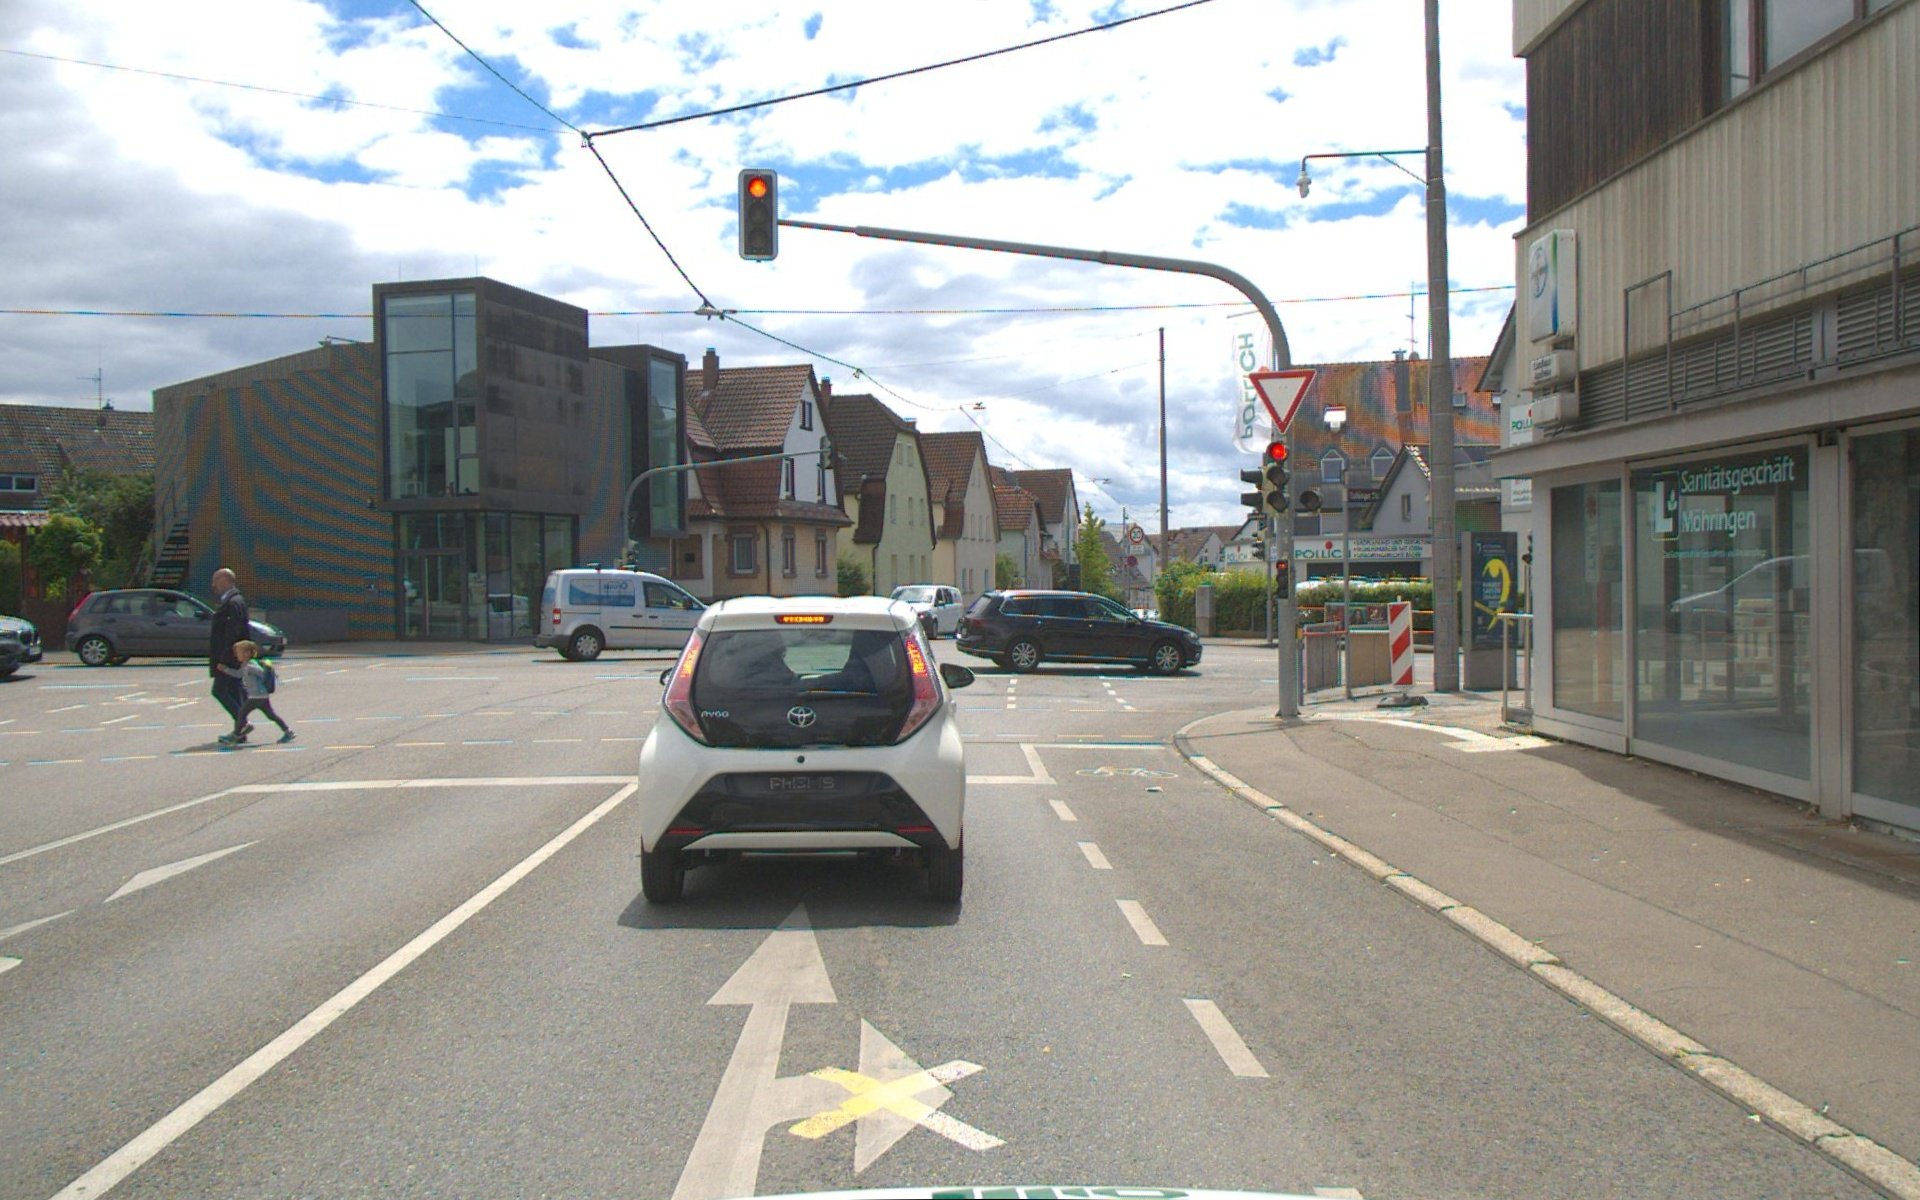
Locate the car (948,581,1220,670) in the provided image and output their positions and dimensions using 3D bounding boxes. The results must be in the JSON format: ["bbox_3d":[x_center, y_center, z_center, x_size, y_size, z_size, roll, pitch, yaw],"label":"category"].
[{"bbox_3d":[2.290,0.476,31.252,4.806,1.605,1.996,0,0,-9],"label":"car"}]

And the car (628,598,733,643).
[{"bbox_3d":[-10.577,0.758,62.738,3.537,1.633,1.693,1,0,10],"label":"car"}]

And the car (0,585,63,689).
[{"bbox_3d":[-17.681,0.626,27.708,4.216,1.705,1.994,-1,0,-12],"label":"car"}]

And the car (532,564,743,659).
[{"bbox_3d":[-6.729,0.240,34.457,4.003,1.881,1.987,1,0,-23],"label":"car"}]

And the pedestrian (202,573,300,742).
[{"bbox_3d":[-7.559,0.596,17.659,0.808,1.751,0.815,-1,0,-13],"label":"pedestrian"}]

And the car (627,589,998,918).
[{"bbox_3d":[-0.749,0.696,9.168,1.663,1.482,3.297,1,0,-3],"label":"car"}]

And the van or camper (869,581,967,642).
[{"bbox_3d":[-1.388,0.372,57.158,2.070,1.959,5.289,1,0,14],"label":"van or camper"}]

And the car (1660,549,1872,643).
[{"bbox_3d":[16.930,-0.098,34.917,3.908,1.870,1.999,1,0,25],"label":"car"}]

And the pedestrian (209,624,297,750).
[{"bbox_3d":[-7.242,0.875,16.975,0.721,1.243,0.643,-1,0,-14],"label":"pedestrian"}]

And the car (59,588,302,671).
[{"bbox_3d":[-15.010,0.562,32.076,3.920,1.512,1.992,1,0,-15],"label":"car"}]
